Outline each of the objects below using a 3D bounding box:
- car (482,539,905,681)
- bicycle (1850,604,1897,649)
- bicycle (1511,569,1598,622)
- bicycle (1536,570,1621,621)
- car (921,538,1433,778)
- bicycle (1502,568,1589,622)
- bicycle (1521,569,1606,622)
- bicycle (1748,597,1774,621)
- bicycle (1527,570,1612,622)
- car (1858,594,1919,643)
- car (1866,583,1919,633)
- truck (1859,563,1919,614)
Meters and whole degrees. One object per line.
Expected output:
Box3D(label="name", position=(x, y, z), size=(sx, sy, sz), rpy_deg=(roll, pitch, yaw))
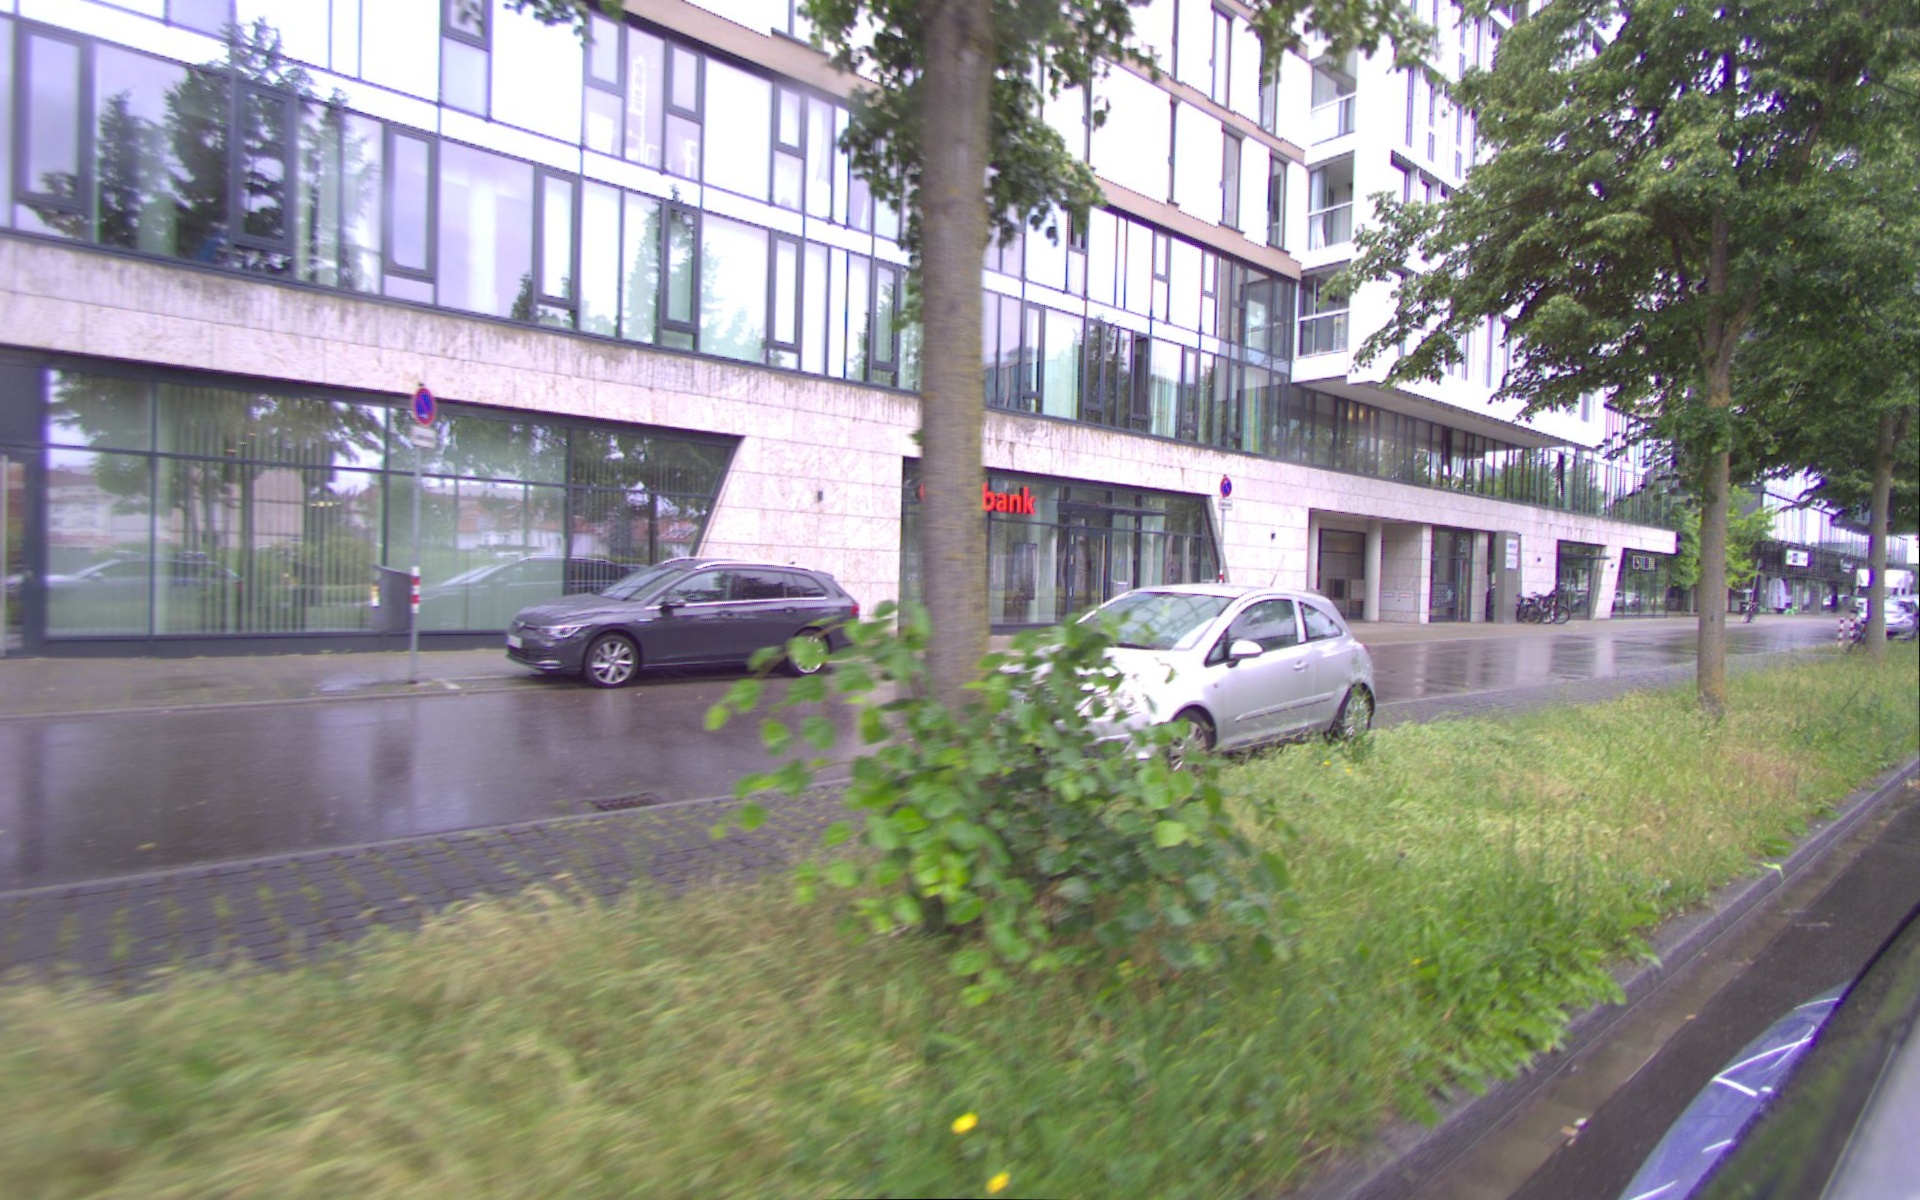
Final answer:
Box3D(label="car", position=(-3.306, 0.128, 13.216), size=(4.944, 1.520, 1.998), rpy_deg=(2, 1, -40))
Box3D(label="bicycle", position=(18.486, 0.543, 20.470), size=(1.866, 0.833, 0.343), rpy_deg=(3, -1, -37))
Box3D(label="bicycle", position=(22.125, -0.205, 37.733), size=(0.693, 1.884, 2.689), rpy_deg=(1, 1, -35))
Box3D(label="bicycle", position=(23.909, -0.204, 39.186), size=(0.693, 1.884, 2.689), rpy_deg=(1, 1, -35))
Box3D(label="car", position=(2.077, 0.436, 8.689), size=(4.641, 1.525, 1.884), rpy_deg=(3, 0, -42))
Box3D(label="bicycle", position=(21.536, -0.205, 37.294), size=(0.693, 1.884, 2.689), rpy_deg=(1, 1, -35))
Box3D(label="bicycle", position=(22.745, -0.188, 38.200), size=(0.693, 1.884, 2.689), rpy_deg=(1, 1, -35))
Box3D(label="bicycle", position=(39.552, 0.437, 49.974), size=(2.026, 1.144, 0.519), rpy_deg=(1, 1, -38))
Box3D(label="bicycle", position=(23.300, -0.176, 38.743), size=(0.693, 1.884, 2.689), rpy_deg=(1, 1, -35))
Box3D(label="car", position=(31.614, 0.626, 34.071), size=(3.591, 1.509, 1.628), rpy_deg=(2, 0, -41))
Box3D(label="car", position=(36.063, 0.337, 38.299), size=(4.639, 1.690, 1.998), rpy_deg=(3, 0, -40))
Box3D(label="truck", position=(67.566, -0.806, 73.223), size=(8.404, 3.484, 3.028), rpy_deg=(0, 1, -43))
